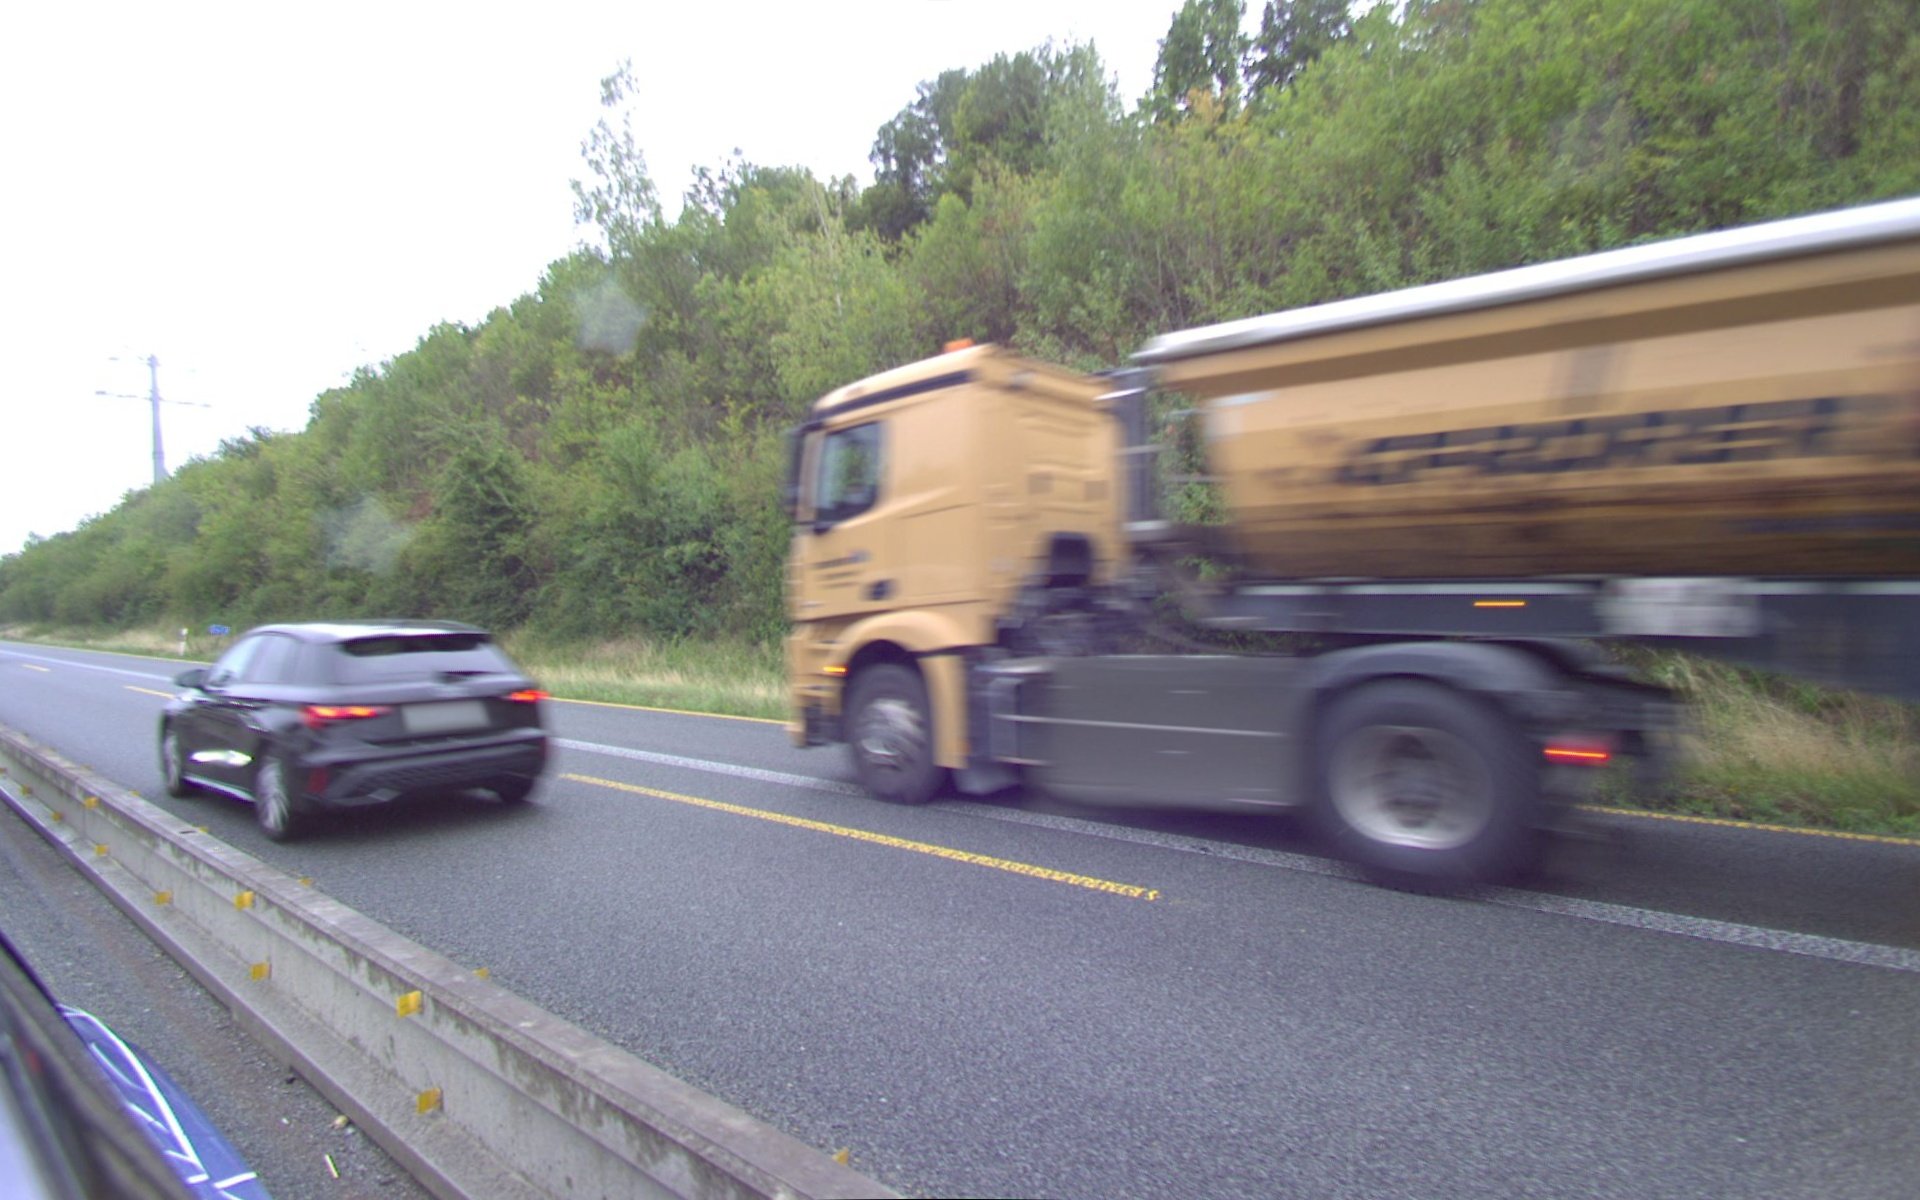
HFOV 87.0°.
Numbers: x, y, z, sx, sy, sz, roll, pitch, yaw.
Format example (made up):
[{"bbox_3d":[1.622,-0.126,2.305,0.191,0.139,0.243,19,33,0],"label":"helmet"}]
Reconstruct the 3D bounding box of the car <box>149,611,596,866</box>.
[{"bbox_3d":[-4.558,0.808,7.621,3.926,1.420,1.669,-1,0,40],"label":"car"}]

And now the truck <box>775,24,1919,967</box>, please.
[{"bbox_3d":[3.962,-0.376,4.827,12.042,3.378,2.509,-1,0,41],"label":"truck"}]
